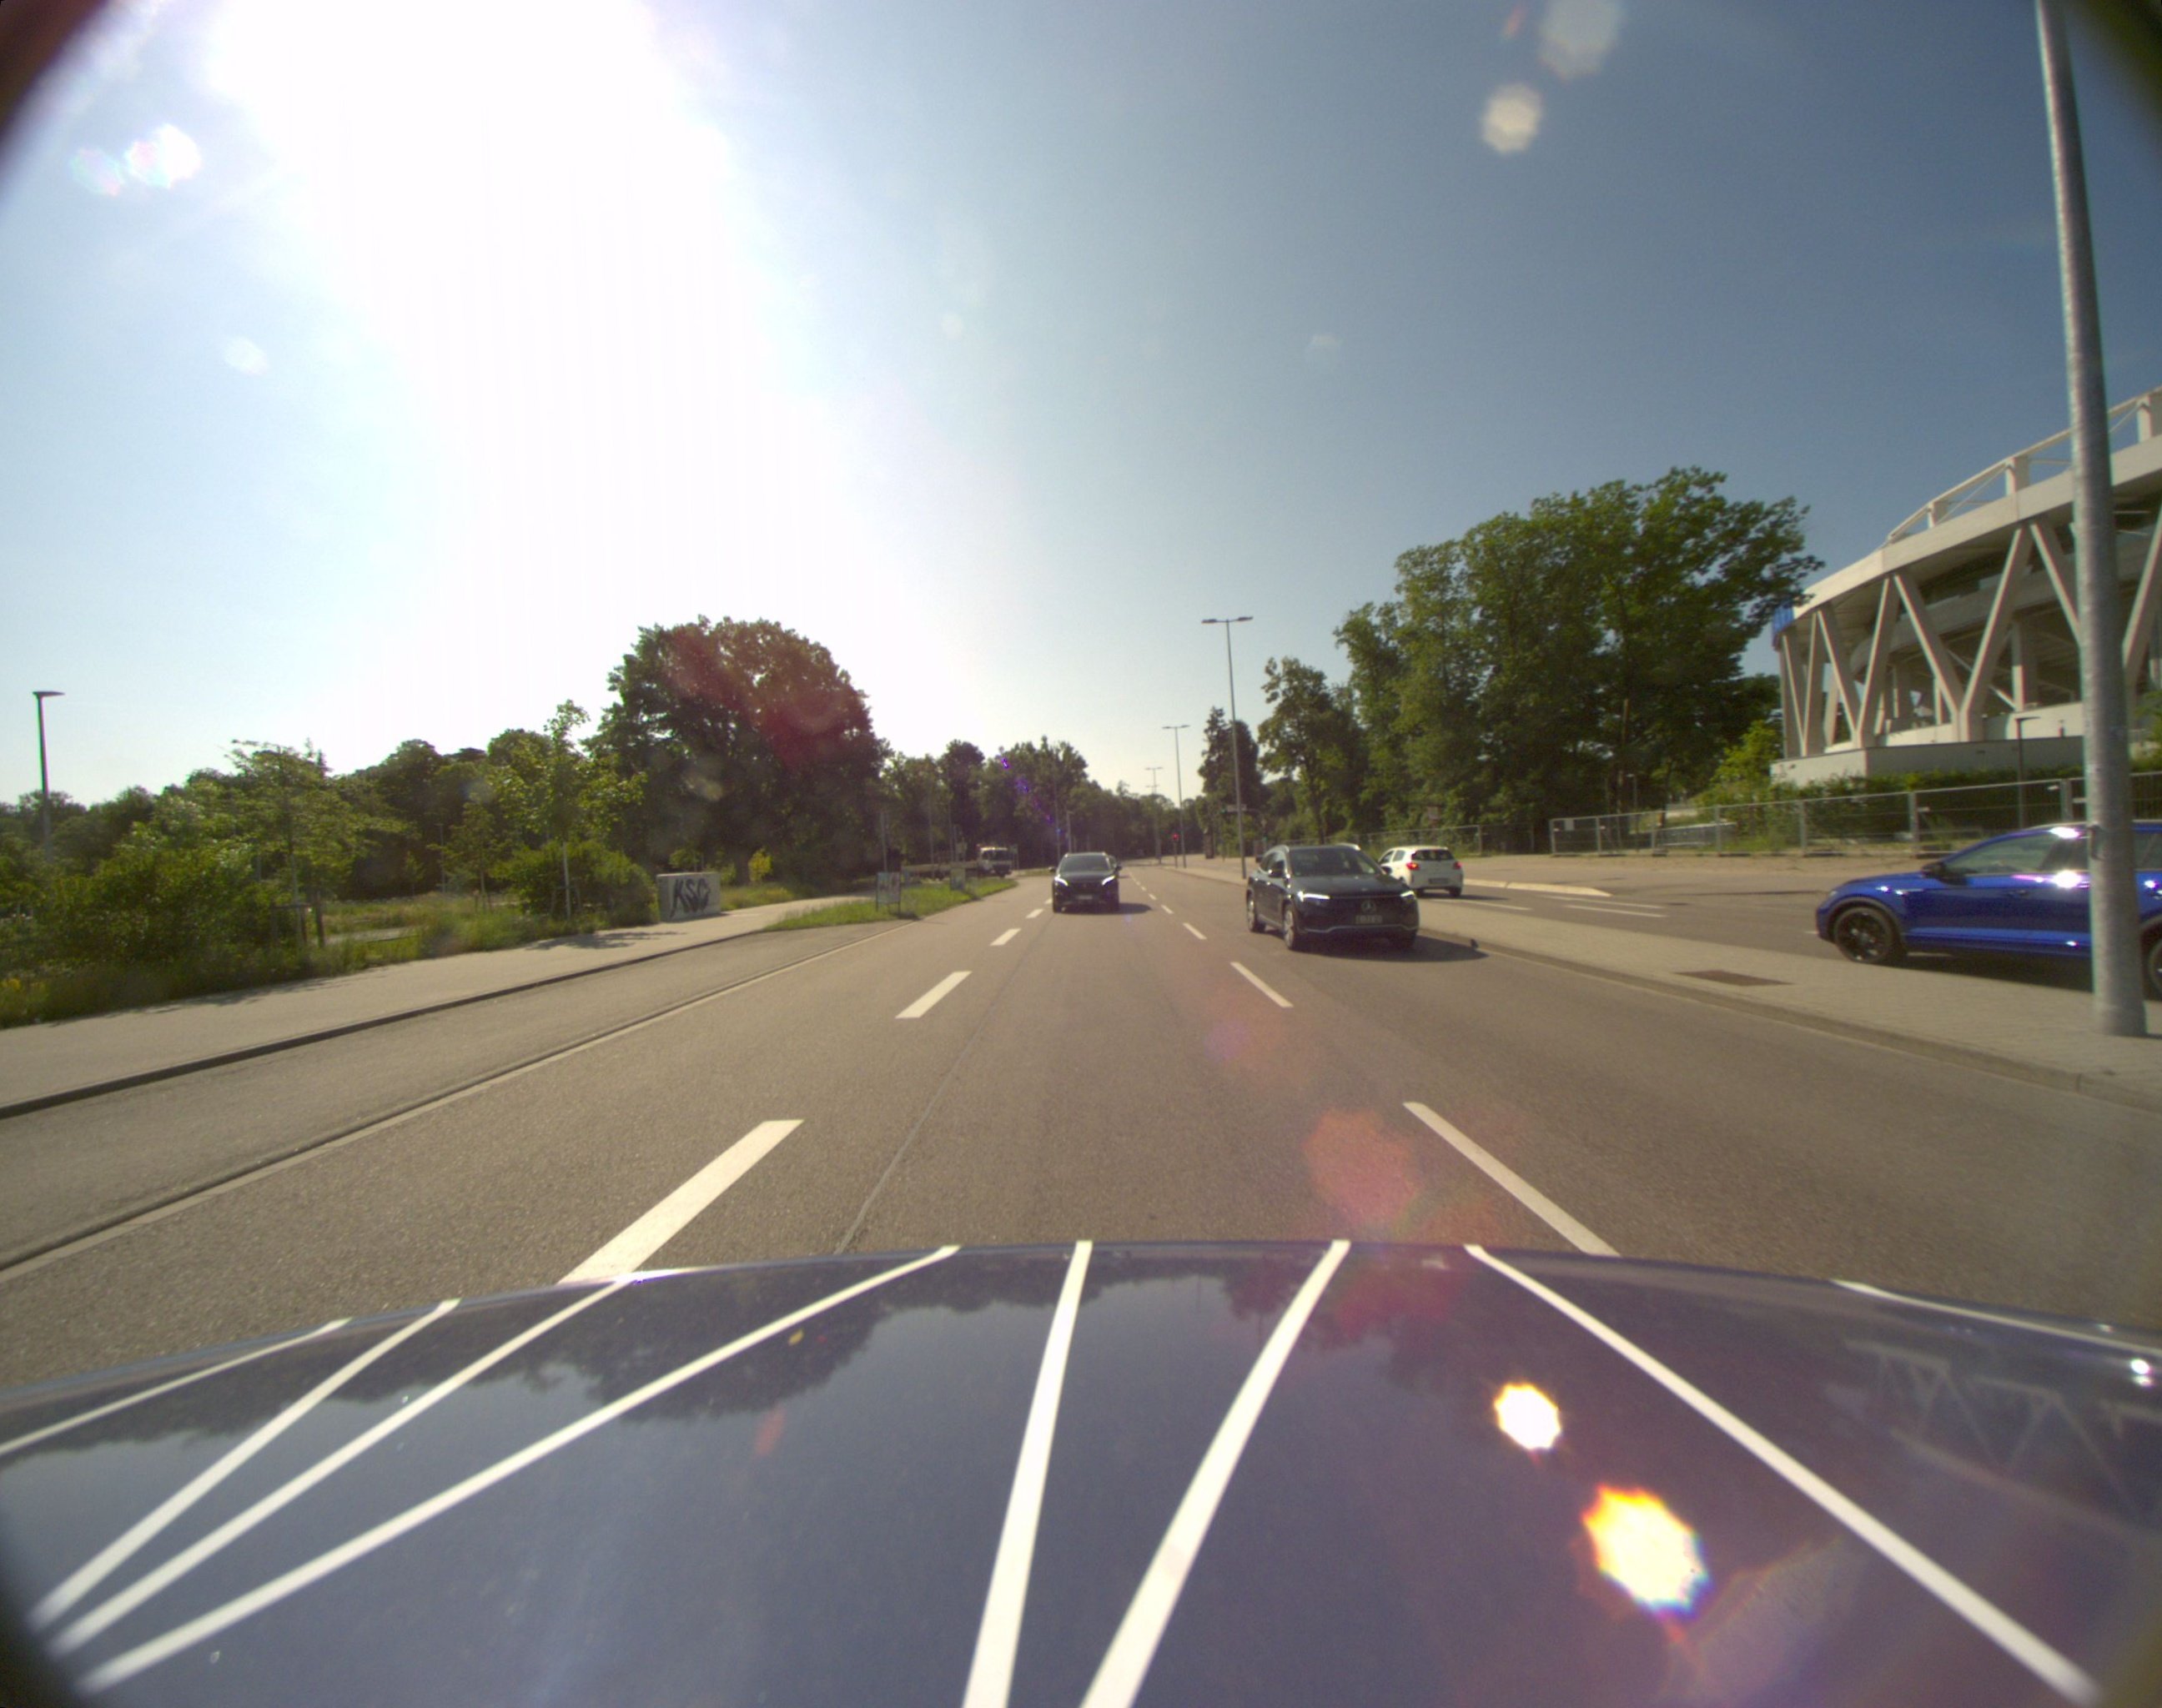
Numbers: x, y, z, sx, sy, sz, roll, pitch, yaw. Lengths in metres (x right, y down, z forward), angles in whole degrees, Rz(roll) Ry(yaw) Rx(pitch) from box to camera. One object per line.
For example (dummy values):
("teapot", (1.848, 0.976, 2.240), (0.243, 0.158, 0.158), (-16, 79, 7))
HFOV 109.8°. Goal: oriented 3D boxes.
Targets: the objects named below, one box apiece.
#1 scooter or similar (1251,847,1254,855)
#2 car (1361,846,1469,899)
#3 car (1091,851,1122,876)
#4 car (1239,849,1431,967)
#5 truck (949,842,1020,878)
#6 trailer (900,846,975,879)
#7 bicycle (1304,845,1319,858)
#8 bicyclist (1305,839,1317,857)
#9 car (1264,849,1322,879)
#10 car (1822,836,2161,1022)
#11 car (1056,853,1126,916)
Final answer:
("scooter or similar", (25.588, -0.501, 113.341), (0.395, 1.139, 1.197), (-3, 0, 9))
("car", (9.913, 0.503, 22.872), (1.627, 1.458, 3.800), (-1, 0, 1))
("car", (1.763, 0.621, 51.269), (1.932, 1.499, 4.001), (-3, 0, 3))
("car", (3.936, 0.735, 12.569), (1.809, 1.587, 4.273), (-1, 0, 1))
("truck", (-8.353, 0.526, 65.088), (2.685, 2.702, 6.187), (-4, 1, -45))
("trailer", (-13.101, 0.792, 69.299), (6.870, 2.672, 2.708), (-3, 1, 38))
("bicycle", (19.803, -0.212, 65.371), (0.661, 1.129, 1.878), (-5, 0, 1))
("bicyclist", (19.758, -0.537, 65.253), (0.661, 1.459, 1.057), (-5, 0, 1))
("car", (10.587, 0.469, 38.250), (1.815, 1.380, 4.162), (-1, 0, 1))
("car", (9.578, 0.588, 6.960), (1.758, 1.477, 3.947), (-1, 0, 1))
("car", (0.380, 0.797, 22.173), (1.702, 1.581, 4.320), (-3, 0, 4))
